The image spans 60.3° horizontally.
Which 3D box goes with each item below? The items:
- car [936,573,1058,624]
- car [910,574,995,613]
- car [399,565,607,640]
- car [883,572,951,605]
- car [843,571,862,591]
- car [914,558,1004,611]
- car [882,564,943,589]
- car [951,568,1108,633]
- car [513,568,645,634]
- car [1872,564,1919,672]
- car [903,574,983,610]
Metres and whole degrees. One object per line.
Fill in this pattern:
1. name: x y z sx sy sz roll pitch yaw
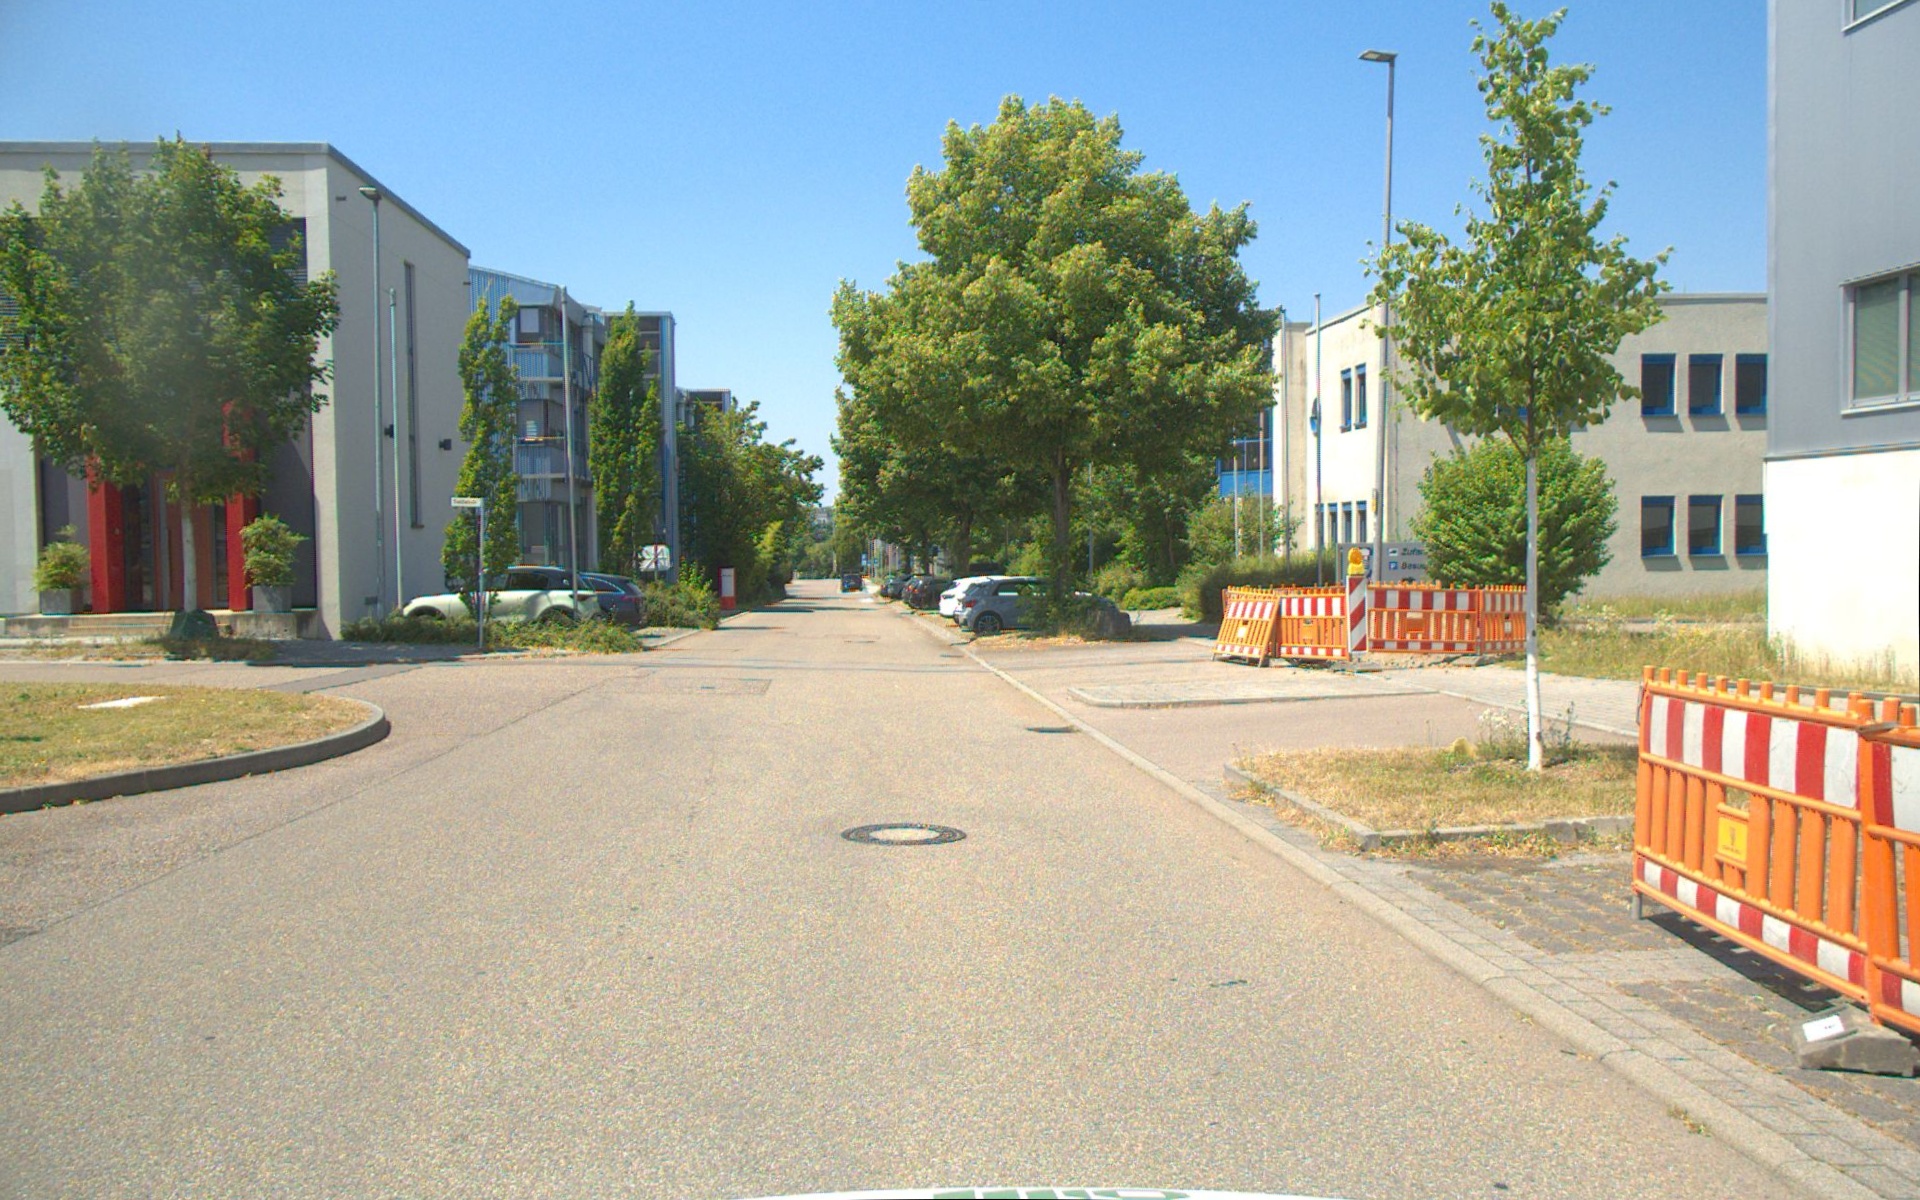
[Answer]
1. car: 1.110 -0.058 50.518 3.451 1.378 1.535 -3 1 -9
2. car: -0.352 -0.283 72.942 3.649 1.655 1.812 0 0 -5
3. car: -9.545 0.041 34.773 3.969 1.521 1.726 0 0 -7
4. car: -2.603 -0.689 100.009 3.862 1.866 1.763 0 4 -12
5. car: -9.789 -1.754 151.120 1.726 1.786 3.942 0 0 -3
6. car: -0.044 -0.653 69.264 3.649 2.147 1.812 0 0 -5
7. car: -3.231 -1.615 112.309 3.862 1.604 1.763 0 4 -12
8. car: 1.690 0.005 40.845 3.611 1.378 1.642 -3 1 -9
9. car: -9.111 0.022 39.683 3.003 1.504 1.289 1 0 -11
10. car: 14.712 0.333 22.993 1.789 1.478 4.001 -1 4 -1
11. car: -0.817 -0.390 78.155 3.649 1.655 1.812 0 0 -5
